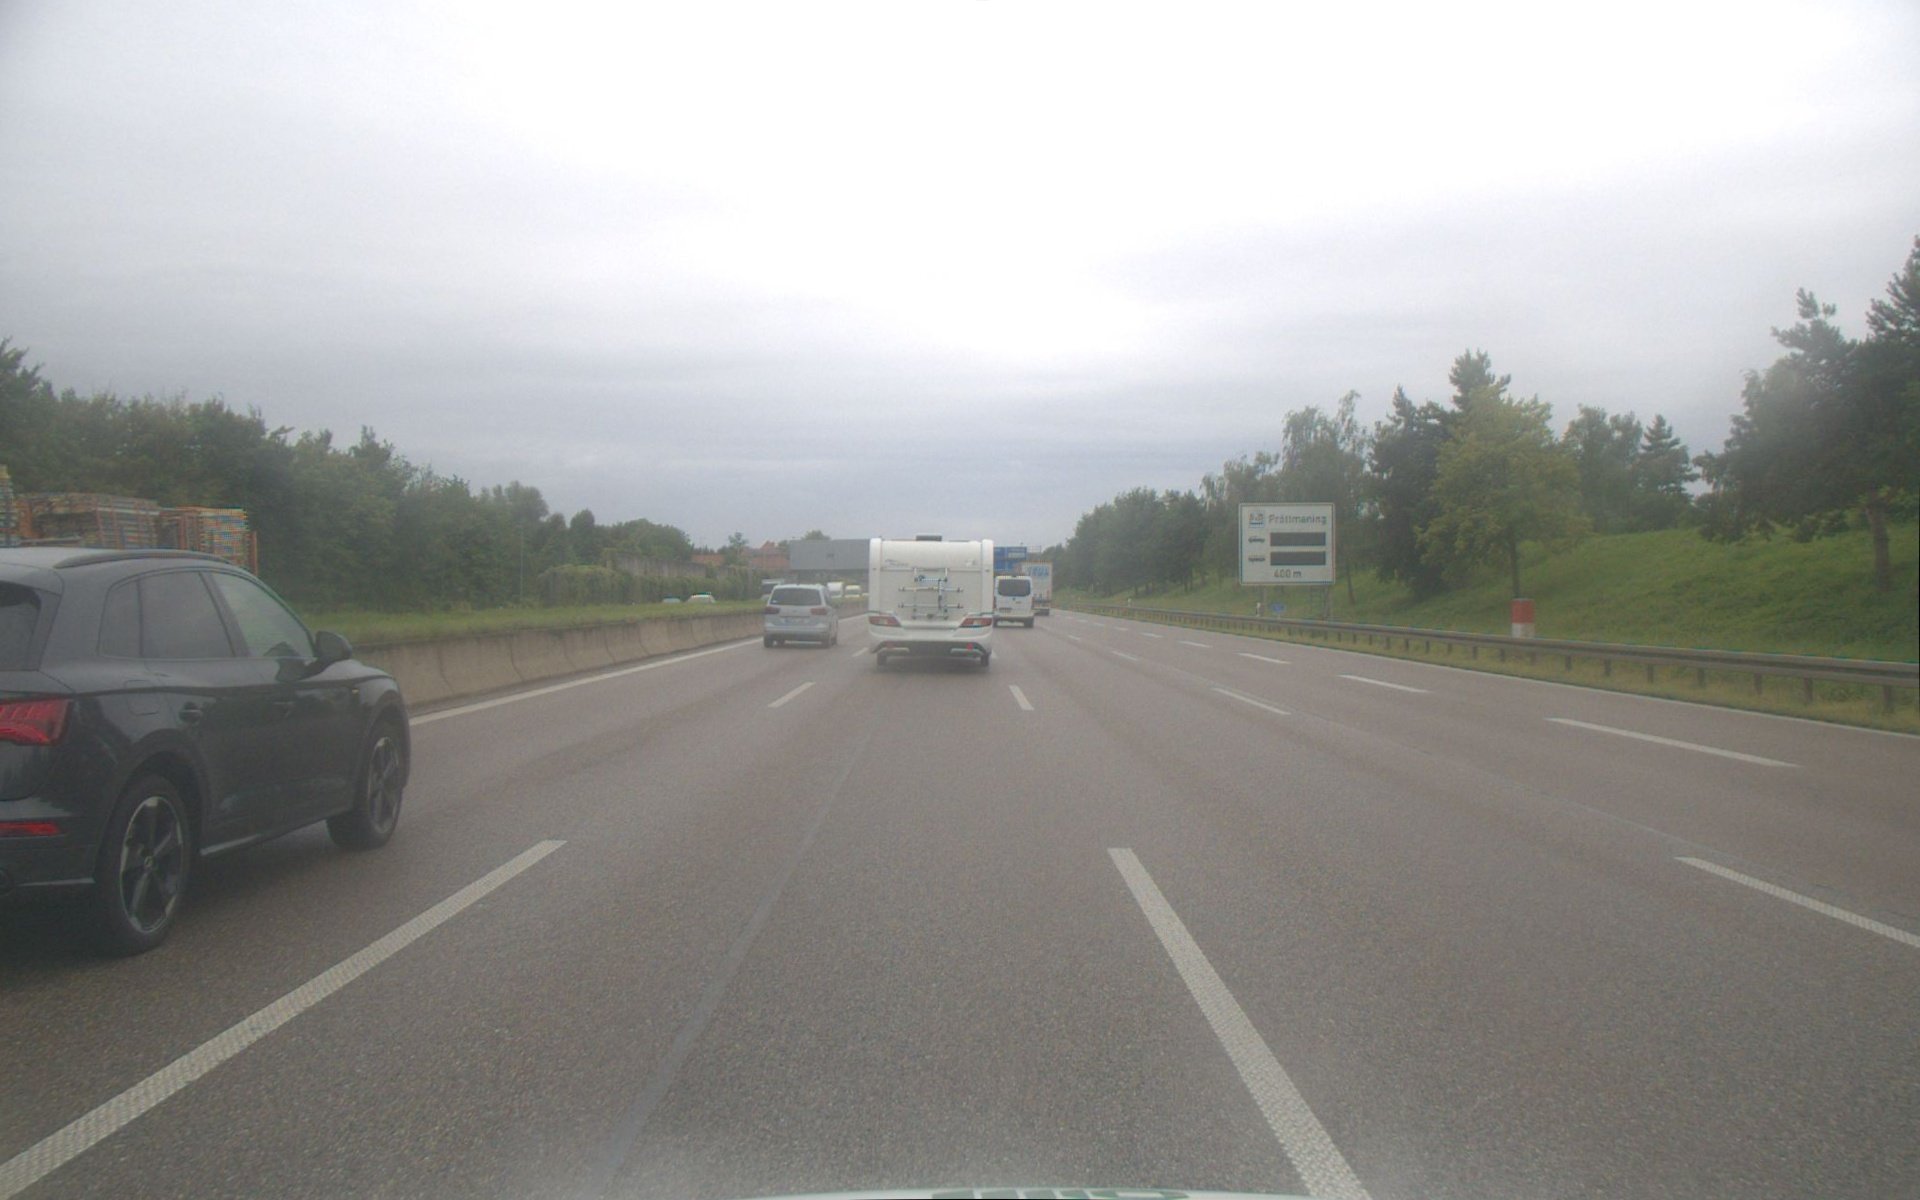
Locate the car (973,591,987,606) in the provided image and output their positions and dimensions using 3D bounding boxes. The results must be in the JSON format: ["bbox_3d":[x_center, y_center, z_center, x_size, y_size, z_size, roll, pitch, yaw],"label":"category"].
[{"bbox_3d":[2.781,-0.212,231.345,1.952,2.049,4.000,1,0,0],"label":"car"}]

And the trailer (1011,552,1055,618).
[{"bbox_3d":[5.782,-1.157,132.949,3.036,5.008,11.790,1,0,0],"label":"trailer"}]

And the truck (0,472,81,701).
[{"bbox_3d":[-16.197,-0.244,22.255,2.891,3.527,11.182,1,0,-1],"label":"truck"}]

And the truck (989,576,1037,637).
[{"bbox_3d":[2.514,0.314,79.634,2.011,2.818,5.547,1,0,-1],"label":"truck"}]

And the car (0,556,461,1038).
[{"bbox_3d":[-4.187,0.656,8.131,1.953,1.628,5.122,1,0,-1],"label":"car"}]

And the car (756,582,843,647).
[{"bbox_3d":[-4.407,0.378,45.958,2.084,1.736,4.112,0,0,-1],"label":"car"}]

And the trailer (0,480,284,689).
[{"bbox_3d":[-16.282,-0.260,32.080,2.872,3.519,8.319,1,0,0],"label":"trailer"}]

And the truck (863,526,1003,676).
[{"bbox_3d":[-0.549,0.032,33.886,2.607,2.790,5.076,1,0,-1],"label":"truck"}]

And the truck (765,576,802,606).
[{"bbox_3d":[-20.181,-0.952,189.874,2.825,3.277,11.358,1,0,0],"label":"truck"}]
